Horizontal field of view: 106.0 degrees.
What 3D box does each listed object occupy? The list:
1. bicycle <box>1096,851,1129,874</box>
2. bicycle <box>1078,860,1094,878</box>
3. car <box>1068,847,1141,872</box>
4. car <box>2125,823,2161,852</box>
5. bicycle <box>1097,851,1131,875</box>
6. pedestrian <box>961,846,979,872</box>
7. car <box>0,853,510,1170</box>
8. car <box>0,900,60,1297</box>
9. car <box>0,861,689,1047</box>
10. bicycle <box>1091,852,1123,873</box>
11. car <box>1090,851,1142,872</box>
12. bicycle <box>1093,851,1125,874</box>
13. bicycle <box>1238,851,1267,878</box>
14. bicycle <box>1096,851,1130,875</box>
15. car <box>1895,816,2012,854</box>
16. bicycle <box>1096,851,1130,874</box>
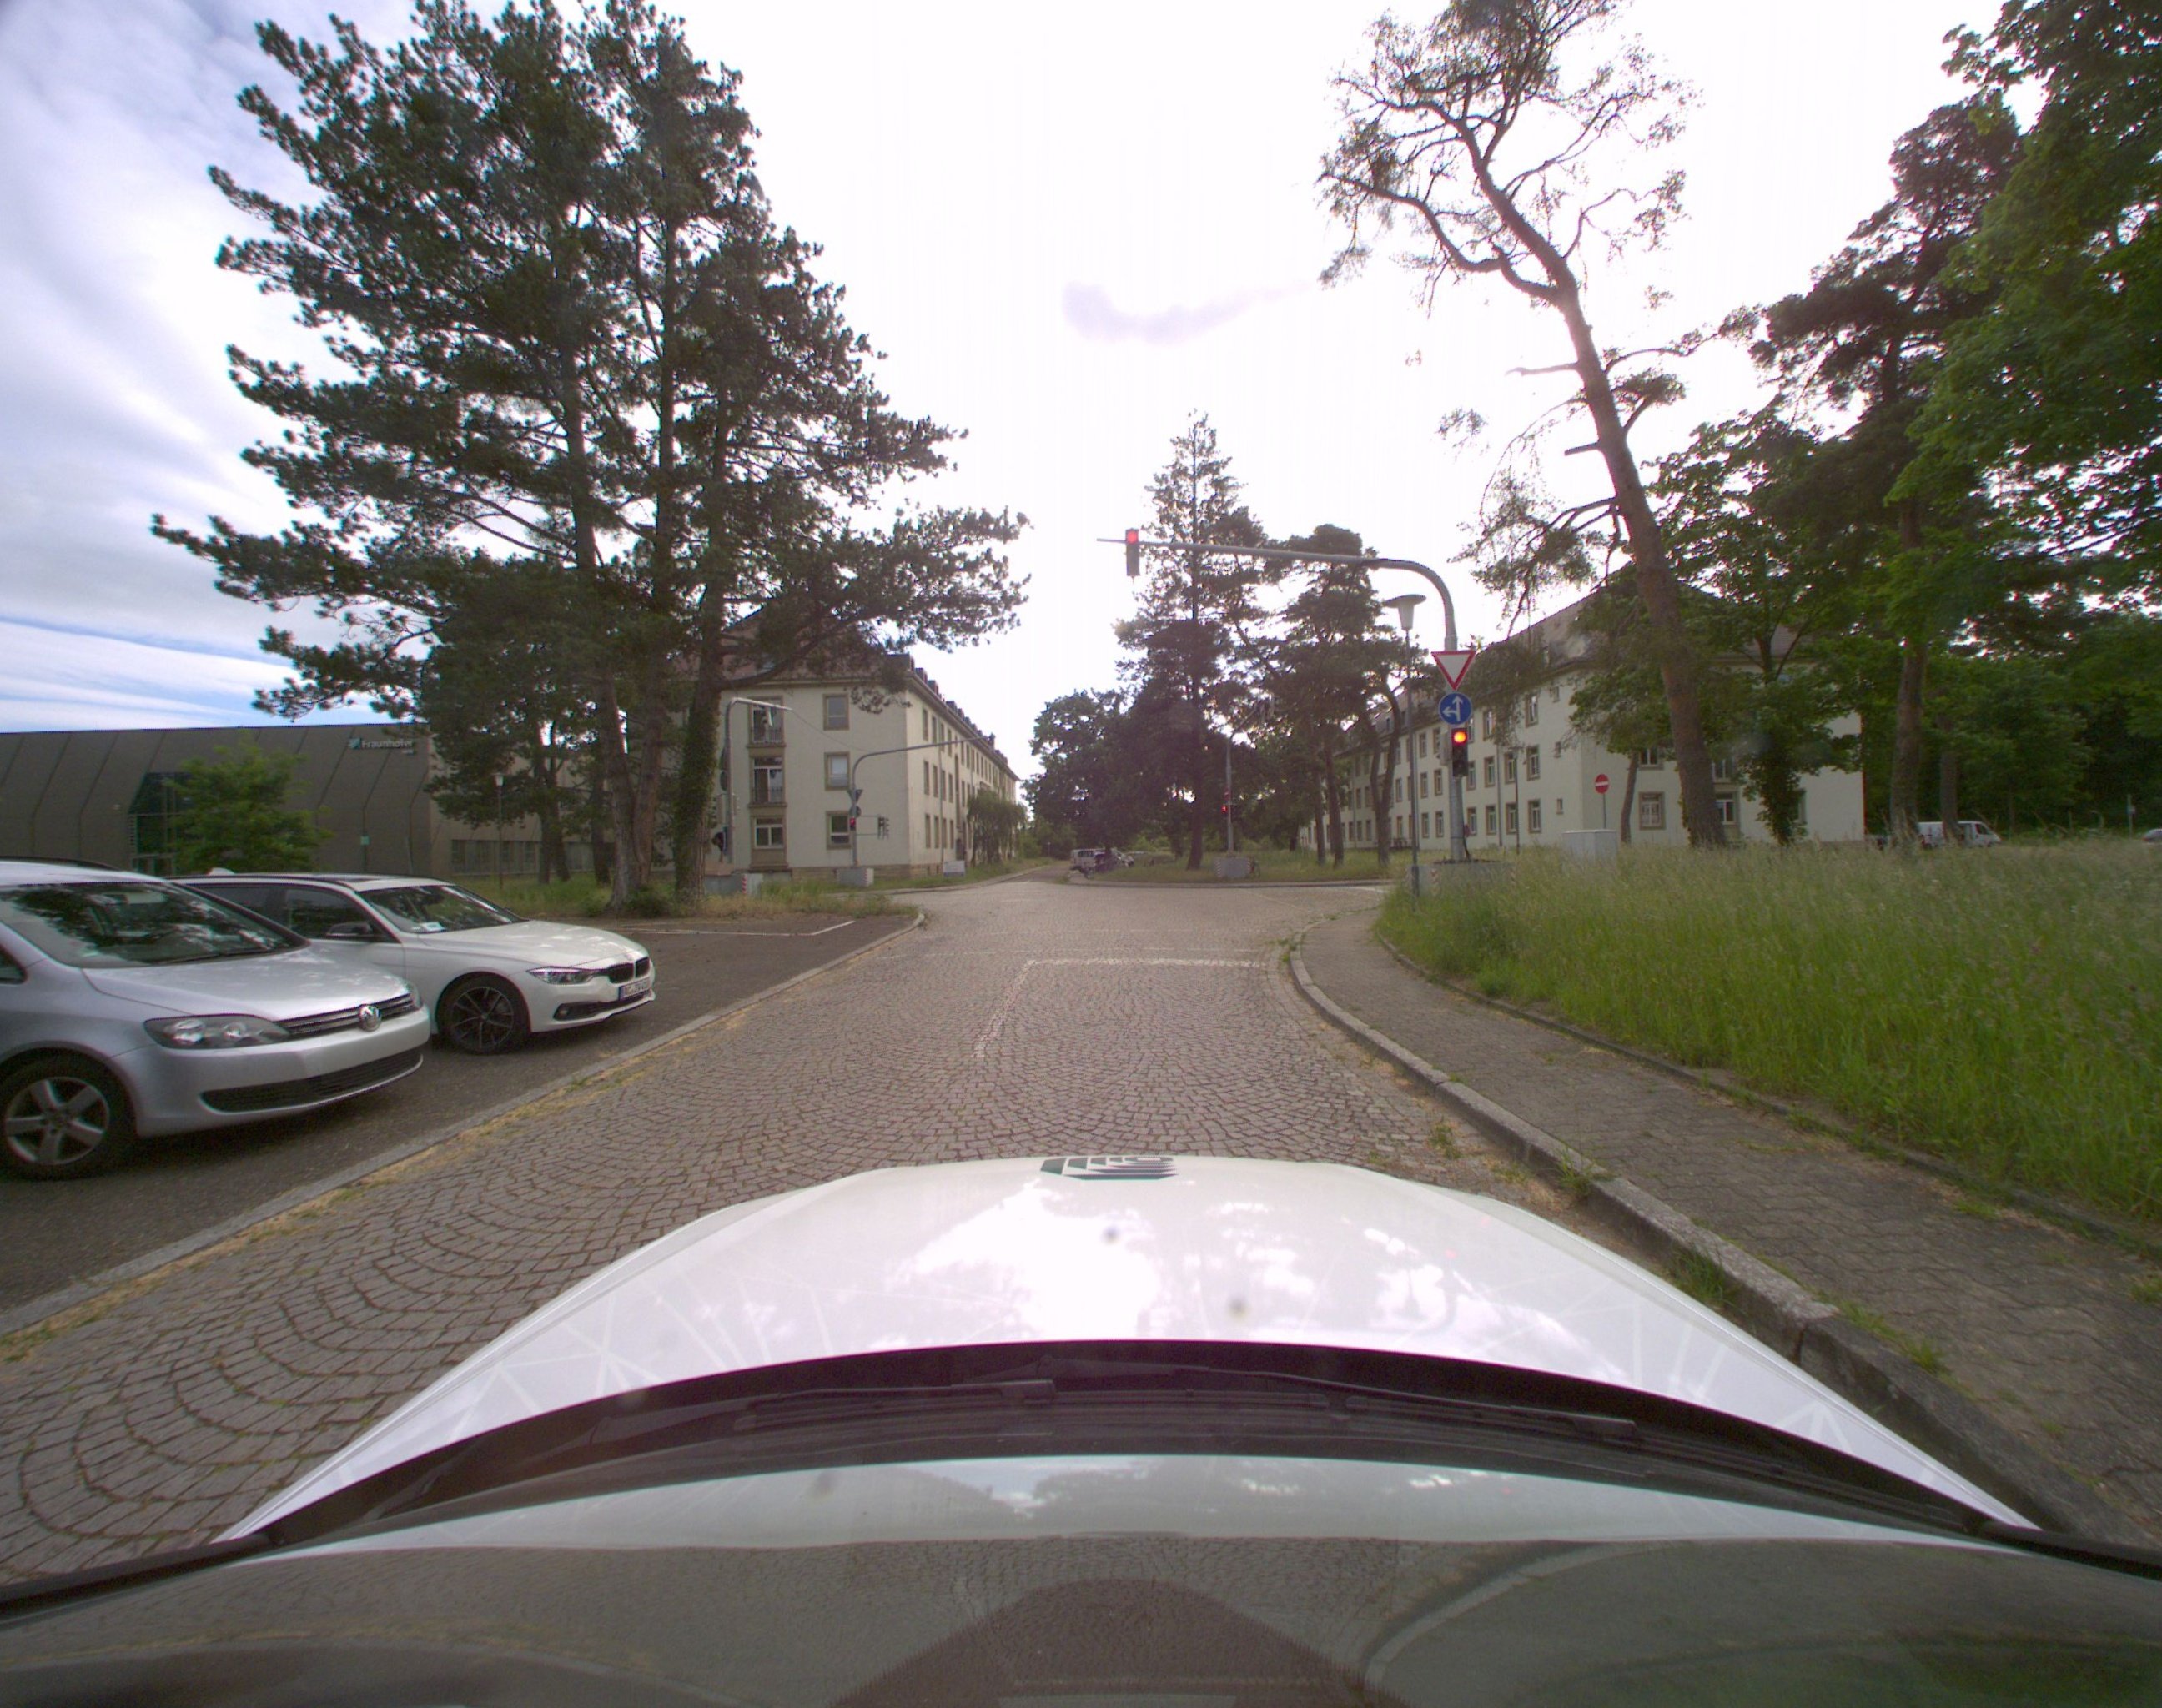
[{"bbox_3d":[2.015,0.553,51.587,2.062,1.378,0.620,-1,0,1],"label":"bicycle"},{"bbox_3d":[0.291,0.859,47.717,0.614,0.963,2.081,-2,0,8],"label":"bicycle"},{"bbox_3d":[1.913,0.465,67.391,5.695,1.910,2.221,-2,0,-12],"label":"car"},{"bbox_3d":[57.533,-0.883,42.483,3.468,1.507,2.001,-2,0,2],"label":"car"},{"bbox_3d":[2.011,0.541,49.494,2.062,1.378,0.620,-1,0,1],"label":"bicycle"},{"bbox_3d":[-8.871,0.419,65.131,1.081,2.013,1.023,-2,0,6],"label":"pedestrian"},{"bbox_3d":[-6.067,0.786,4.865,3.978,1.547,1.722,1,0,-4],"label":"car"},{"bbox_3d":[-5.890,0.858,2.187,3.975,1.427,1.750,1,0,-1],"label":"car"},{"bbox_3d":[-6.364,0.823,7.423,4.636,1.443,1.800,1,0,-3],"label":"car"},{"bbox_3d":[1.699,0.564,53.875,2.062,1.378,0.620,-1,0,1],"label":"bicycle"},{"bbox_3d":[2.739,0.592,64.010,3.924,1.544,1.997,-2,0,-4],"label":"car"},{"bbox_3d":[1.805,0.555,52.388,2.062,1.378,0.620,-1,0,1],"label":"bicycle"},{"bbox_3d":[7.823,0.456,37.149,0.905,1.177,1.874,-2,0,0],"label":"bicycle"},{"bbox_3d":[1.981,0.544,50.165,2.062,1.378,0.620,-1,0,1],"label":"bicycle"},{"bbox_3d":[57.004,-1.242,53.283,5.160,2.288,2.214,-2,0,2],"label":"car"},{"bbox_3d":[1.991,0.548,50.790,2.062,1.378,0.620,-1,0,1],"label":"bicycle"}]
